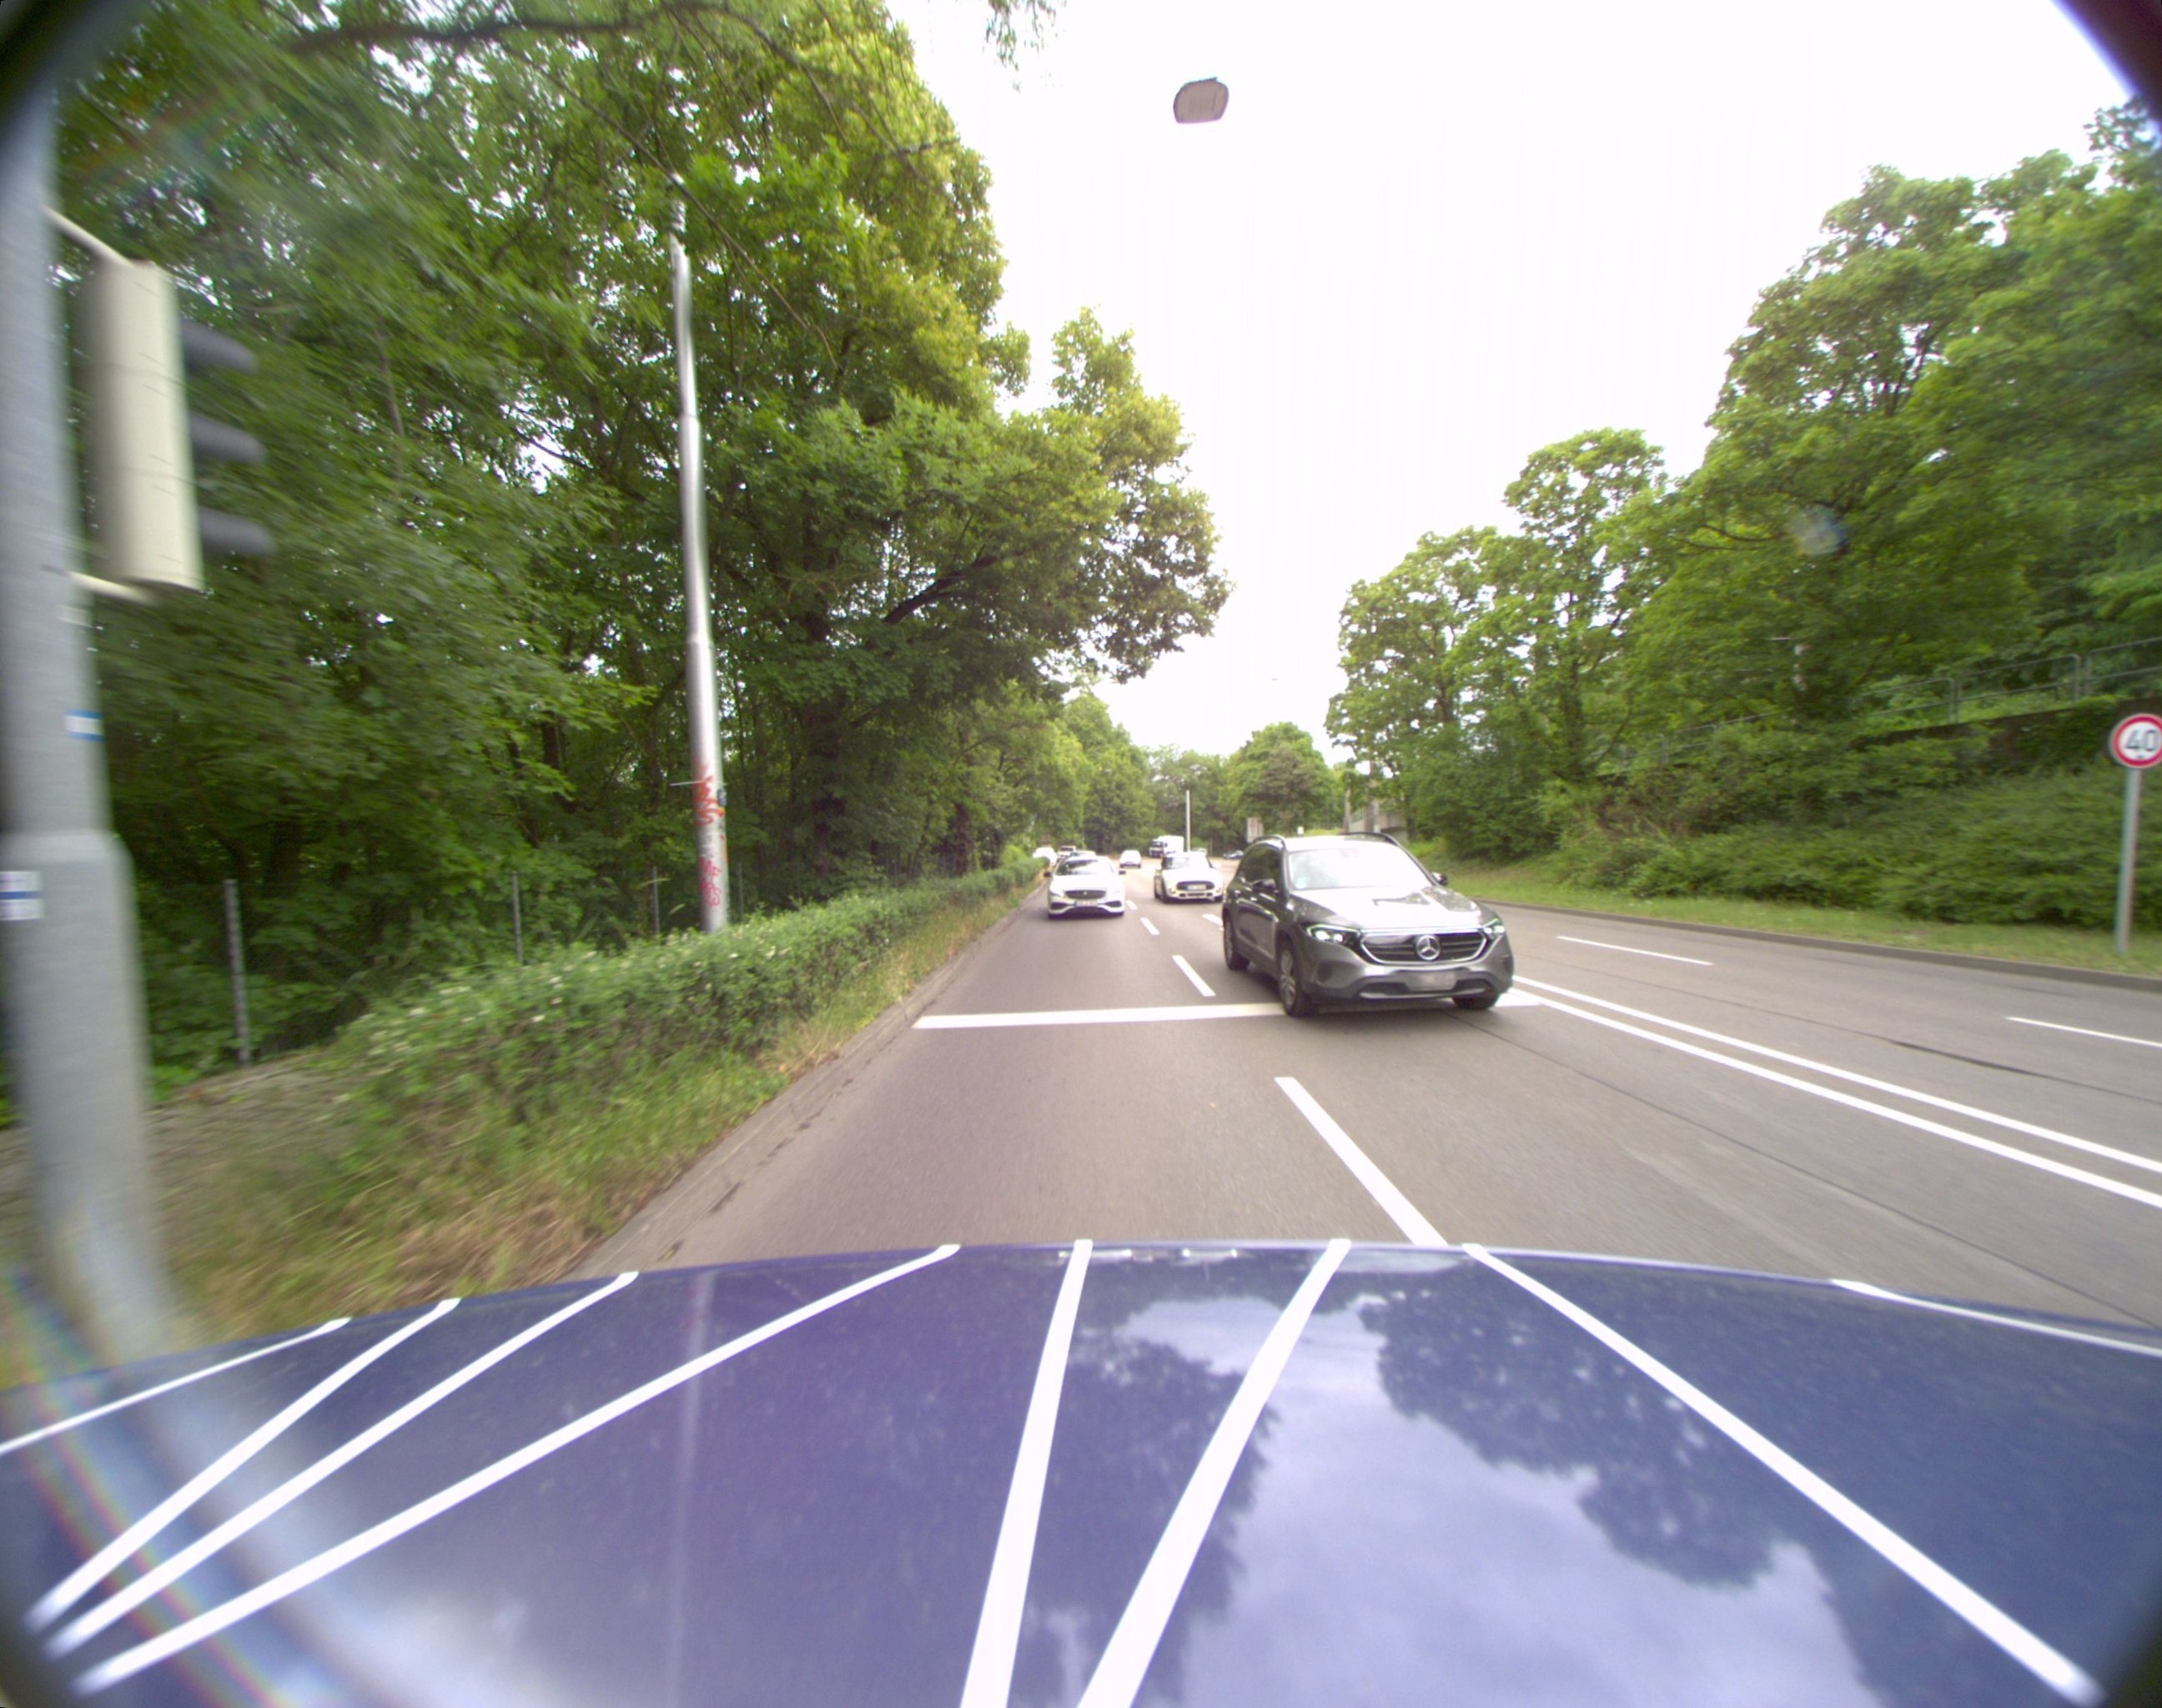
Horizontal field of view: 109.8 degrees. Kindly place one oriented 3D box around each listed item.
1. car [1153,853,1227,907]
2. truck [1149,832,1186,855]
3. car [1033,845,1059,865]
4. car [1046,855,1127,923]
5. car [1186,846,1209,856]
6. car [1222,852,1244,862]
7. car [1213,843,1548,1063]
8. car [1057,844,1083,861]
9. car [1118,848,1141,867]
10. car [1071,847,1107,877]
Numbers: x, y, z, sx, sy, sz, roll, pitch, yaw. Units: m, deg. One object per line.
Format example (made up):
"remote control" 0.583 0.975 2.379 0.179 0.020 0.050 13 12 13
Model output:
"car" 3.146 0.708 22.658 1.688 1.415 3.732 -1 1 1
"truck" 12.168 -1.452 106.390 2.195 3.137 6.665 2 1 33
"car" -2.657 0.071 58.812 1.765 1.433 3.891 1 1 1
"car" 0.158 0.778 18.923 1.801 1.470 4.010 -1 1 1
"car" 17.544 -0.443 114.261 1.751 1.354 4.019 4 1 35
"car" 23.270 0.434 116.375 1.761 1.433 3.900 2 1 37
"car" 2.661 0.742 7.973 1.854 1.641 4.357 -1 1 1
"car" -1.083 -0.187 73.889 1.754 1.575 4.013 1 1 10
"car" 3.962 0.246 61.277 1.663 1.382 4.184 -1 1 5
"car" 0.419 0.390 40.476 1.755 1.417 4.010 3 1 1
